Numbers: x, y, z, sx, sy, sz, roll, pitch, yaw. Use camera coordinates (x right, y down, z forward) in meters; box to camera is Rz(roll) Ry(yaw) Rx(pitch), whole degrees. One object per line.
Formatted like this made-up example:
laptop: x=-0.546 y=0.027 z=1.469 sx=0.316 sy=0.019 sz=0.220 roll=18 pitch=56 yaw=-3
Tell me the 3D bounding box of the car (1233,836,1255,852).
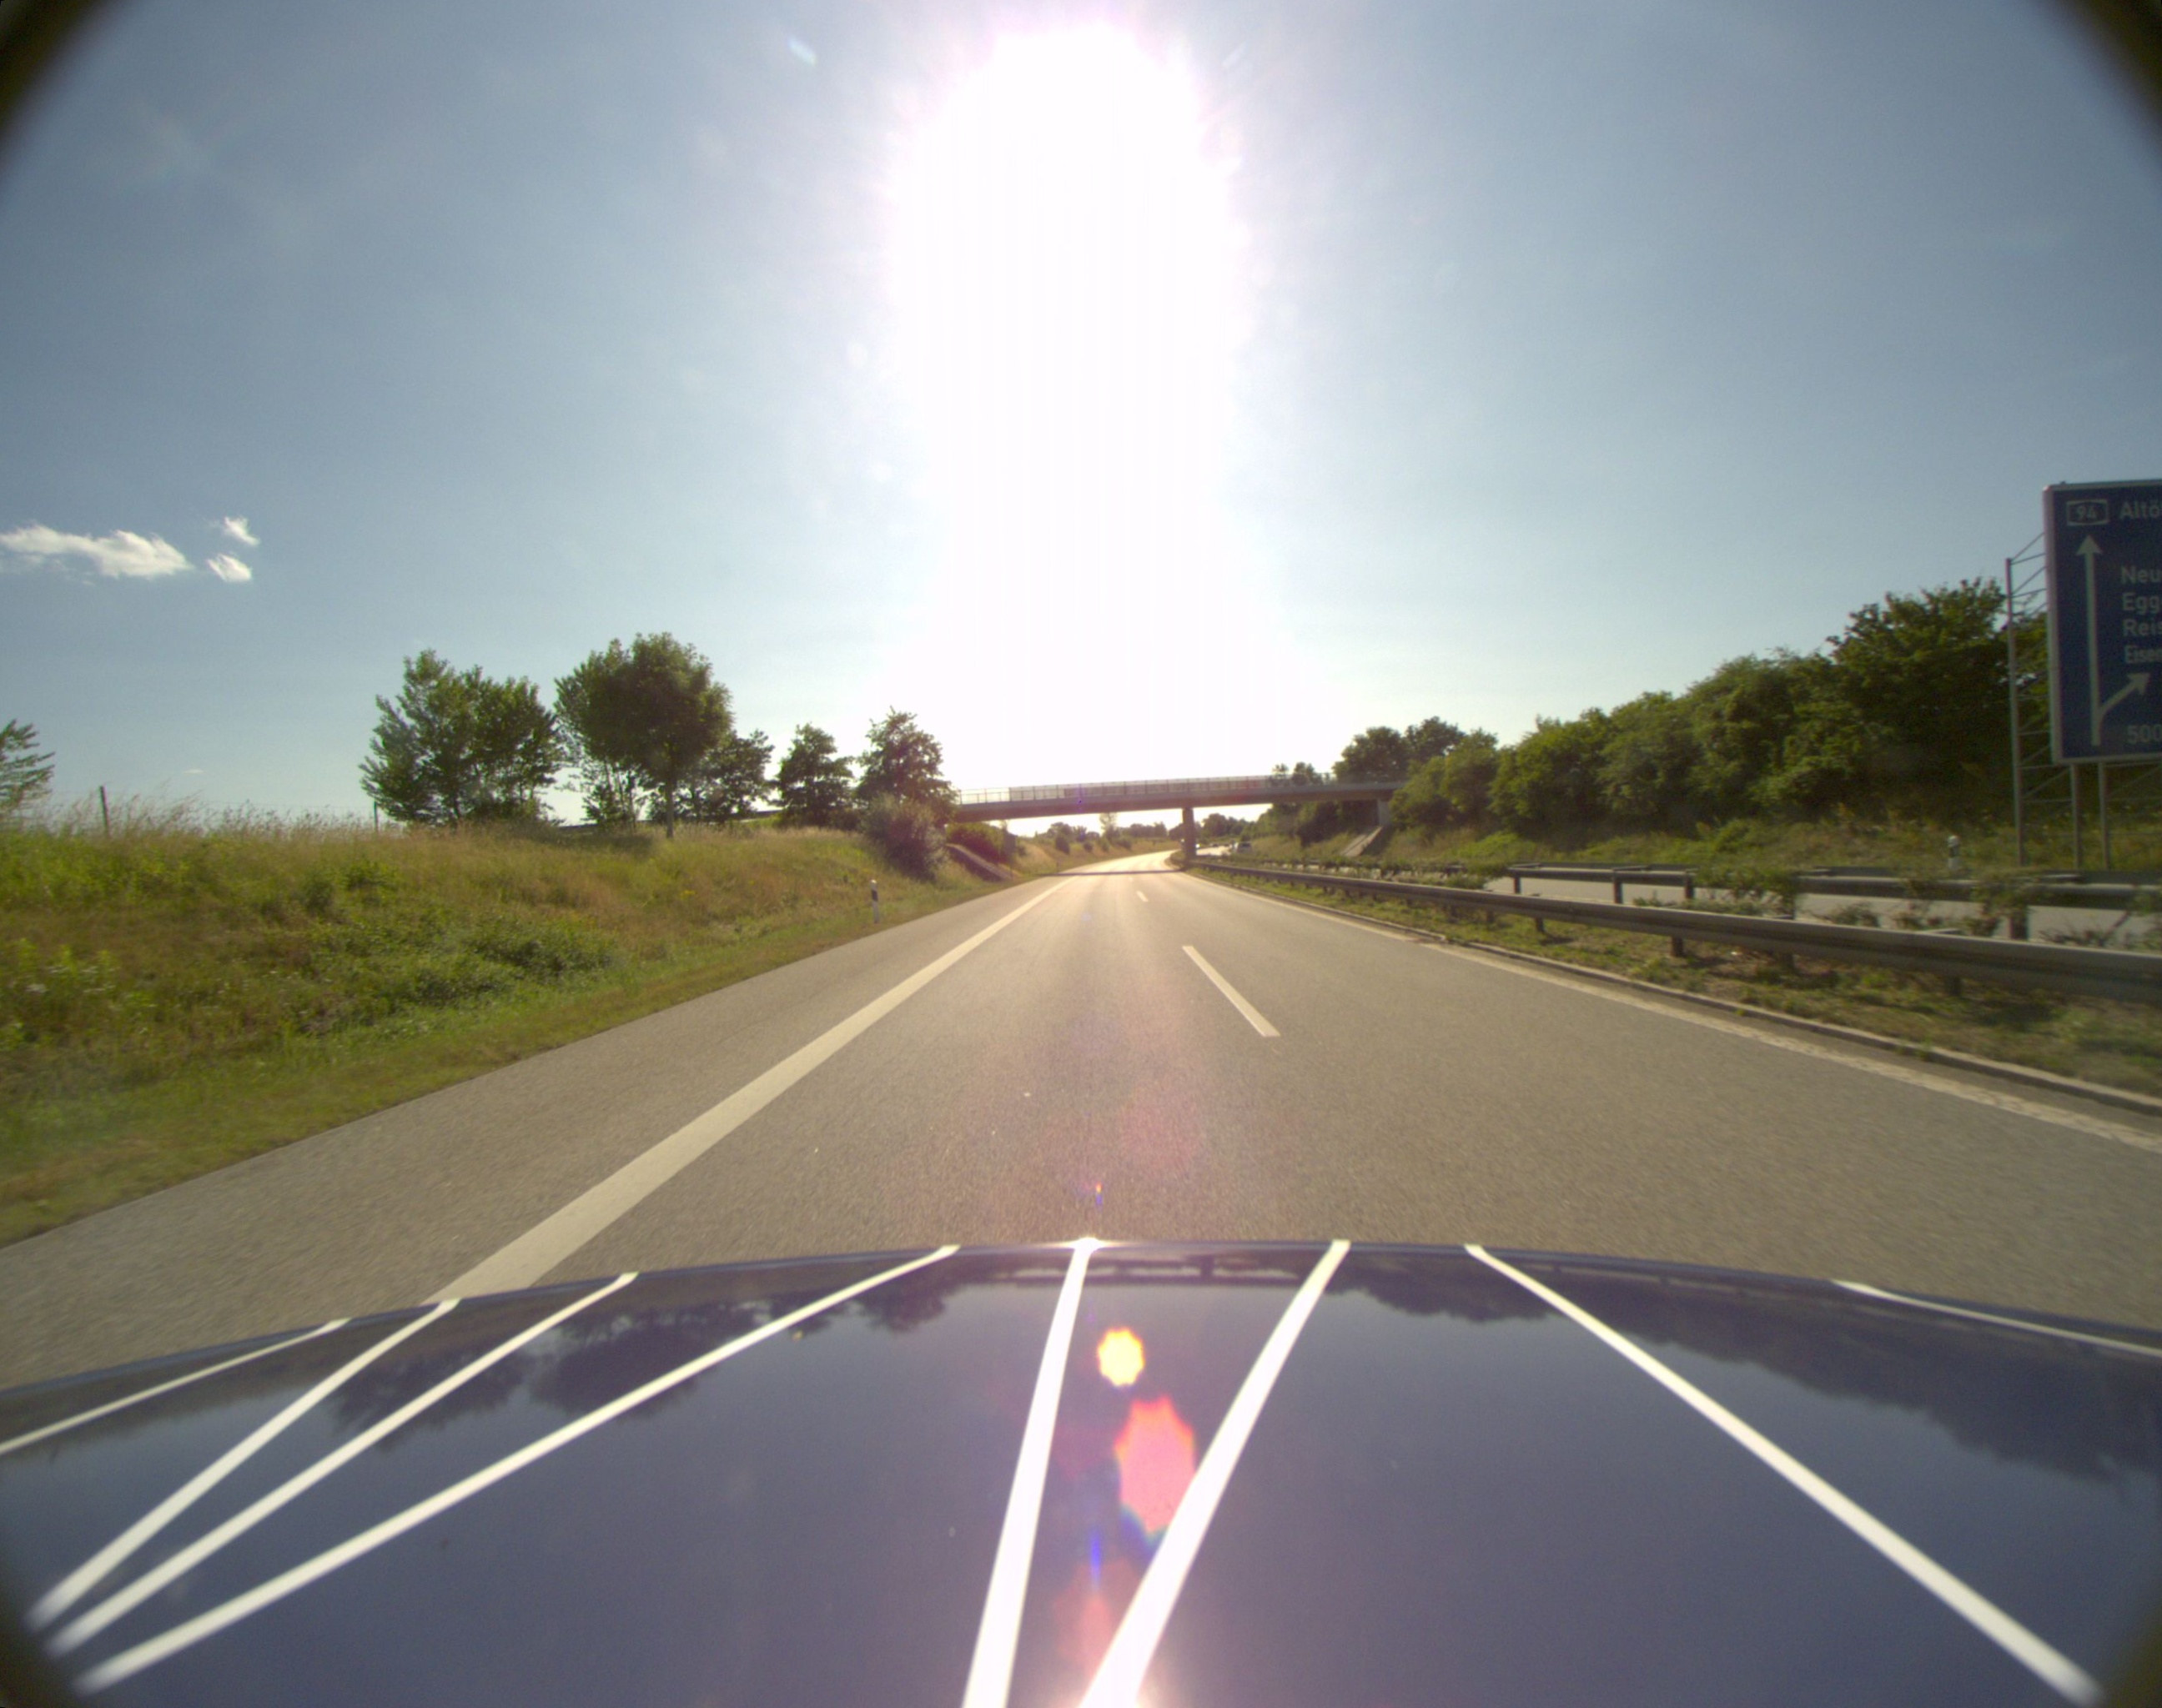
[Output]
car: x=19.889 y=-1.205 z=92.962 sx=1.861 sy=1.846 sz=4.623 roll=-2 pitch=1 yaw=3
